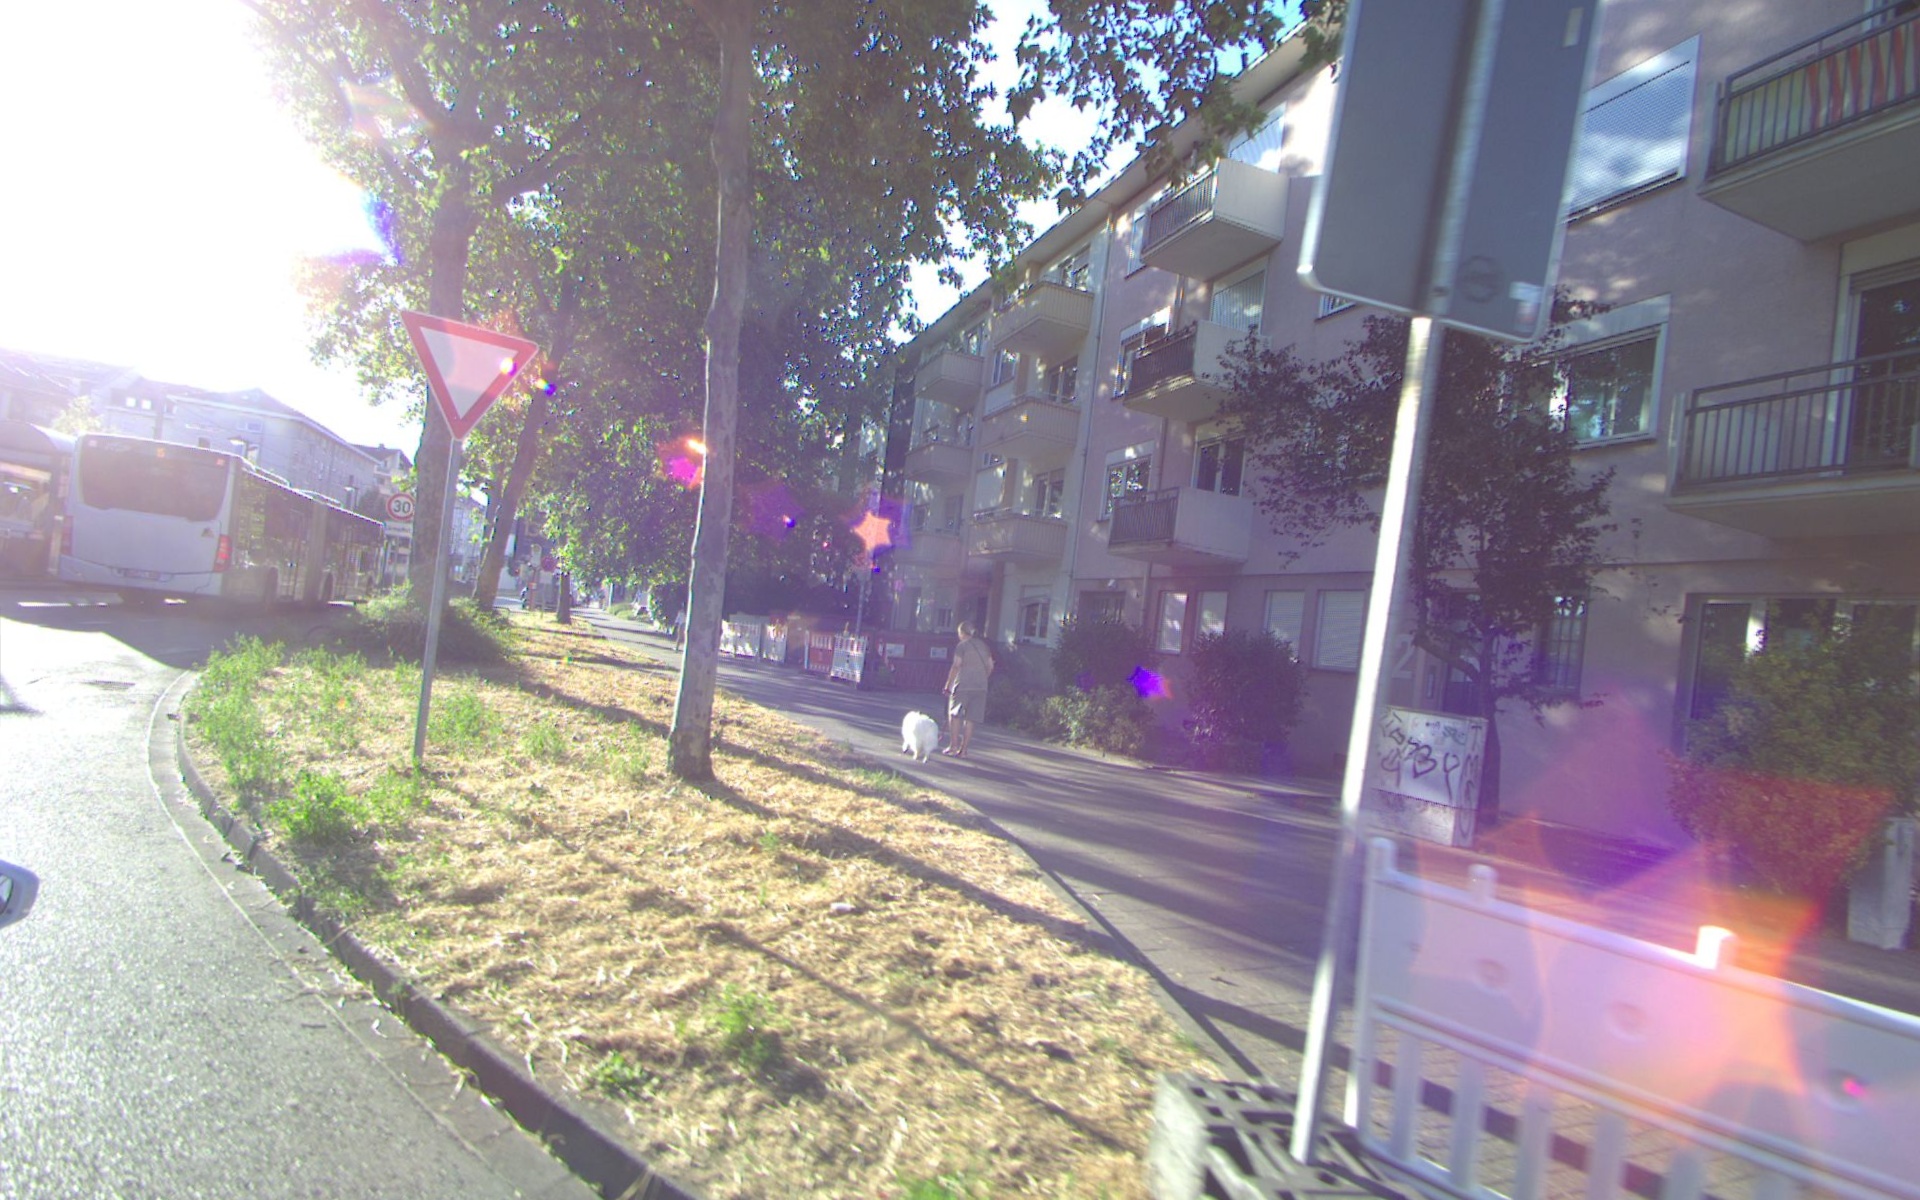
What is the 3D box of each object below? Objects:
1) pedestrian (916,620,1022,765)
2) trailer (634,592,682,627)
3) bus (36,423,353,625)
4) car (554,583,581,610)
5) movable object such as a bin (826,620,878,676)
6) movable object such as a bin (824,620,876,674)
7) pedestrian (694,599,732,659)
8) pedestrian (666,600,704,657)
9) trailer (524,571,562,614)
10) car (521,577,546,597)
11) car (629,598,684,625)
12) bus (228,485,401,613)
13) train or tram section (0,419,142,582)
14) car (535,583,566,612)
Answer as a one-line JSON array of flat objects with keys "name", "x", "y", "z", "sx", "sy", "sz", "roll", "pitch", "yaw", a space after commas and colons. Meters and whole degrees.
[{"name": "pedestrian", "x": 0.091, "y": 1.031, "z": 11.366, "sx": 0.782, "sy": 1.491, "sz": 0.812, "roll": 7, "pitch": -1, "yaw": -24}, {"name": "trailer", "x": -21.521, "y": 0.667, "z": 71.605, "sx": 3.030, "sy": 2.093, "sz": 1.872, "roll": 8, "pitch": -2, "yaw": -18}, {"name": "bus", "x": -16.506, "y": -1.362, "z": 22.840, "sx": 2.706, "sy": 3.175, "sz": 10.653, "roll": 8, "pitch": -2, "yaw": -22}, {"name": "car", "x": -42.483, "y": -0.365, "z": 109.007, "sx": 2.257, "sy": 2.657, "sz": 5.291, "roll": 7, "pitch": -2, "yaw": -19}, {"name": "movable object such as a bin", "x": -3.157, "y": 1.413, "z": 29.590, "sx": 1.274, "sy": 1.451, "sz": 0.840, "roll": 7, "pitch": -1, "yaw": 0}, {"name": "movable object such as a bin", "x": -3.339, "y": 1.433, "z": 30.602, "sx": 1.274, "sy": 1.451, "sz": 0.841, "roll": 7, "pitch": -1, "yaw": 7}, {"name": "pedestrian", "x": -7.394, "y": 0.864, "z": 30.088, "sx": 0.782, "sy": 1.686, "sz": 0.812, "roll": 7, "pitch": -1, "yaw": -24}, {"name": "pedestrian", "x": -8.136, "y": 0.836, "z": 29.753, "sx": 0.782, "sy": 1.590, "sz": 0.812, "roll": 7, "pitch": -1, "yaw": -24}, {"name": "trailer", "x": -27.499, "y": -0.490, "z": 66.426, "sx": 1.812, "sy": 2.587, "sz": 3.307, "roll": 7, "pitch": -2, "yaw": -19}, {"name": "car", "x": -45.401, "y": -1.351, "z": 107.109, "sx": 1.971, "sy": 1.837, "sz": 3.986, "roll": 8, "pitch": -2, "yaw": -18}, {"name": "car", "x": -23.790, "y": 0.911, "z": 78.883, "sx": 3.877, "sy": 1.656, "sz": 1.700, "roll": 7, "pitch": -2, "yaw": -20}, {"name": "bus", "x": -20.094, "y": -1.414, "z": 31.931, "sx": 2.681, "sy": 3.143, "sz": 8.938, "roll": 8, "pitch": -2, "yaw": -22}, {"name": "train or tram section", "x": -23.183, "y": -2.468, "z": 22.649, "sx": 2.611, "sy": 3.559, "sz": 13.286, "roll": 7, "pitch": -2, "yaw": -19}, {"name": "car", "x": -32.038, "y": -0.154, "z": 78.803, "sx": 1.826, "sy": 1.979, "sz": 4.528, "roll": 7, "pitch": -2, "yaw": -19}]
